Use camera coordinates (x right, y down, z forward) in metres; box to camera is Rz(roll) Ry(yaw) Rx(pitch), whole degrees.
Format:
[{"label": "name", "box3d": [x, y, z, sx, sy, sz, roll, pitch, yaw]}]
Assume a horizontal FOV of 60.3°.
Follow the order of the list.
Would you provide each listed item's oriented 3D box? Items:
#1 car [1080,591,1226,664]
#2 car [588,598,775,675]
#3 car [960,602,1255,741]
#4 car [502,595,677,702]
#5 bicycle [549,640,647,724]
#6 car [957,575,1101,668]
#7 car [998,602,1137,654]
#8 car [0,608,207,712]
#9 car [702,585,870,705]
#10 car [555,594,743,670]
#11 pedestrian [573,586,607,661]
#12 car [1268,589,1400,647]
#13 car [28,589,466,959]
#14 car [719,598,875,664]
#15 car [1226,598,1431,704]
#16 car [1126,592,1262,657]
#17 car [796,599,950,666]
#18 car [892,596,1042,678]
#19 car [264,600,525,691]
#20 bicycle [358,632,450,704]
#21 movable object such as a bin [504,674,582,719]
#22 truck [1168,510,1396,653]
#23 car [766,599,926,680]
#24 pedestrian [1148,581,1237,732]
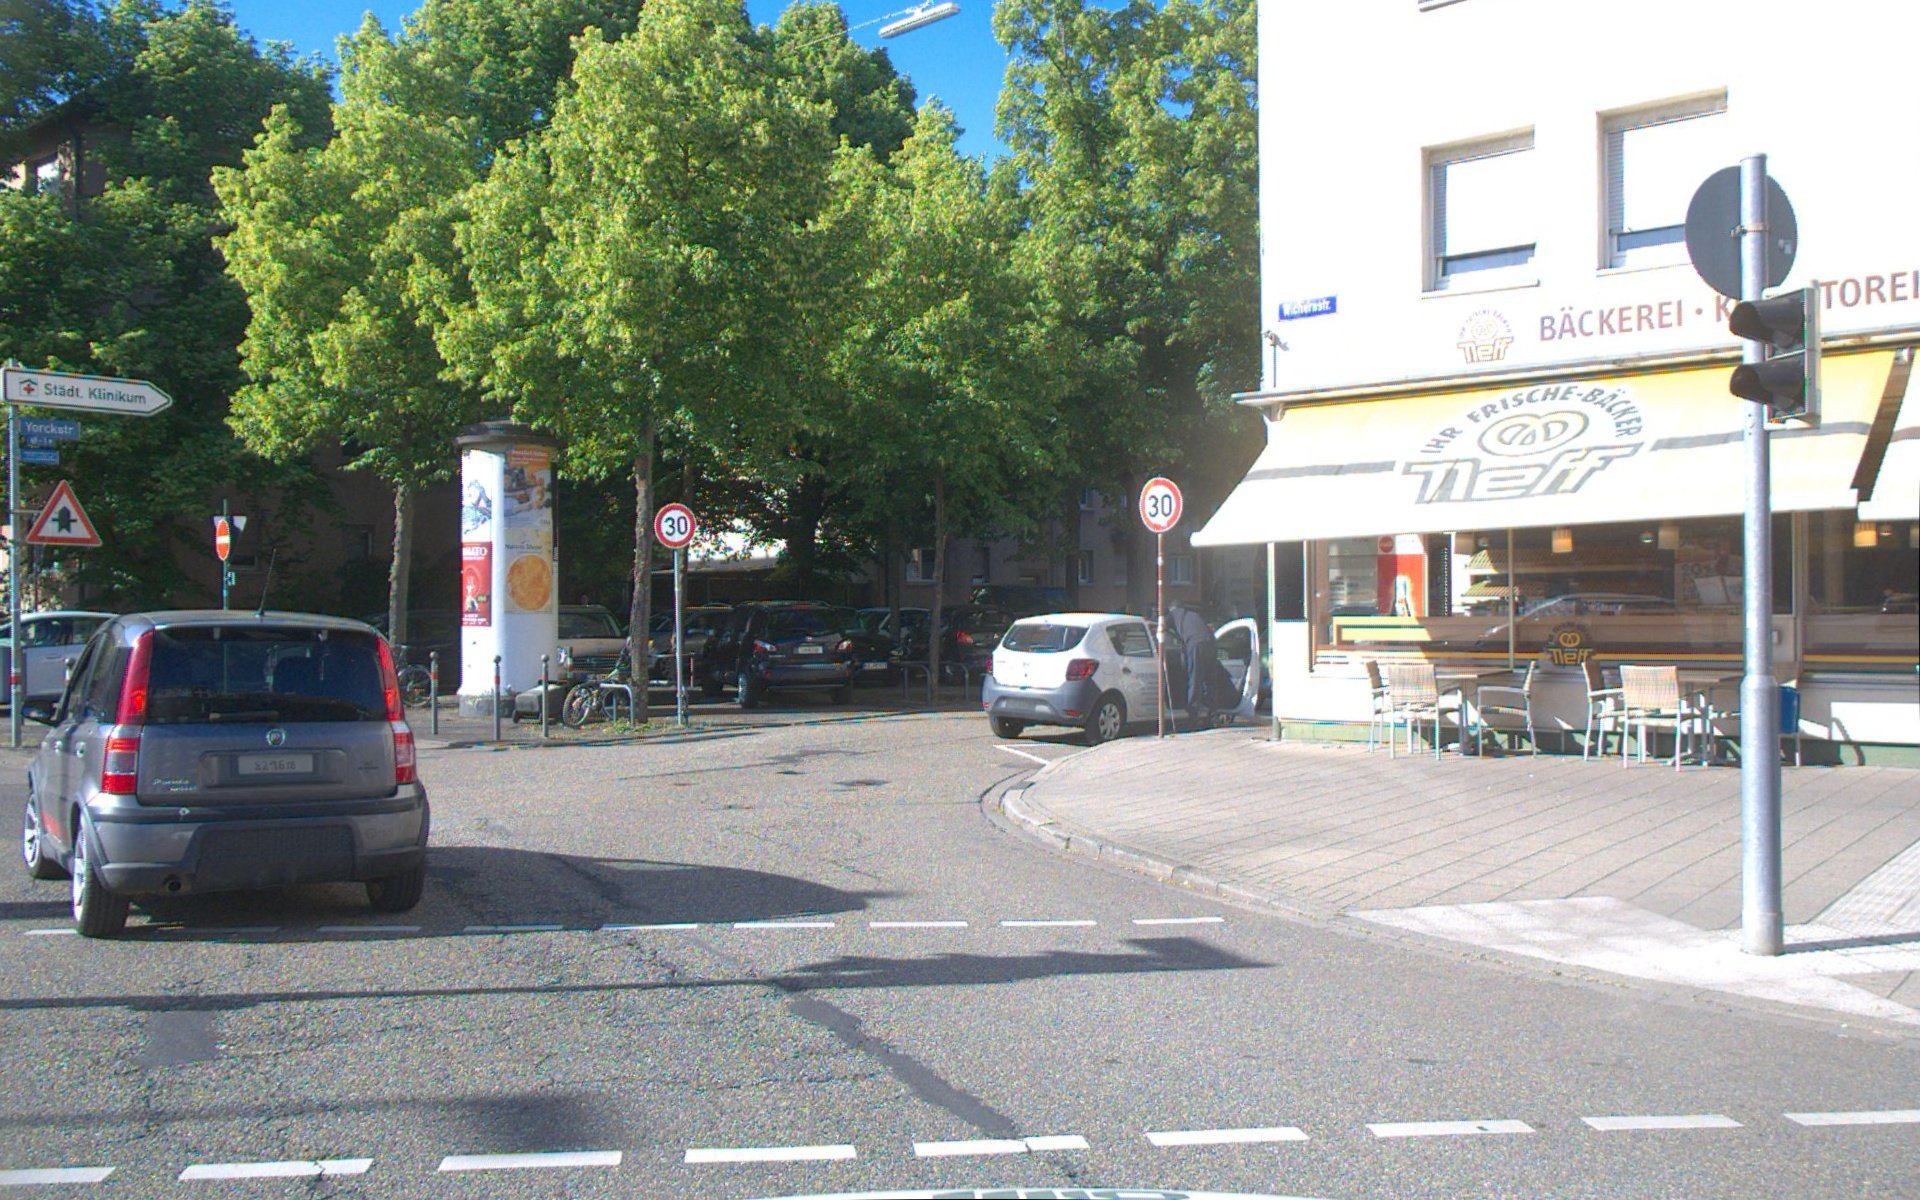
[{"label": "car", "box3d": [4.285, 0.580, 37.343, 1.778, 1.533, 4.325, 0, 0, -16]}, {"label": "car", "box3d": [-5.835, 0.726, 35.105, 1.723, 1.512, 3.938, 0, 0, 33]}, {"label": "car", "box3d": [1.940, 0.819, 20.784, 1.693, 1.523, 4.001, -1, 0, 41]}, {"label": "car", "box3d": [-6.330, 0.770, 27.946, 1.895, 1.639, 3.962, -1, 0, -28]}, {"label": "bicycle", "box3d": [-4.983, 1.113, 22.847, 0.346, 1.091, 1.590, -1, 0, 29]}, {"label": "car", "box3d": [1.438, 0.438, 36.415, 1.898, 1.906, 4.484, 0, 0, -16]}, {"label": "car", "box3d": [3.033, 0.751, 45.812, 1.734, 1.317, 4.396, -3, -2, 36]}, {"label": "car", "box3d": [-14.773, 0.926, 26.047, 4.998, 1.545, 1.893, 0, 0, -44]}, {"label": "car", "box3d": [-2.951, 0.662, 27.258, 1.804, 1.700, 4.312, 0, 2, -20]}, {"label": "car", "box3d": [-7.172, 0.696, 38.466, 1.726, 1.669, 4.227, 0, 0, 38]}, {"label": "pedestrian", "box3d": [-8.791, 0.545, 39.288, 0.728, 1.766, 0.537, -1, 0, -17]}, {"label": "car", "box3d": [10.238, 0.456, 45.573, 1.814, 1.529, 3.979, 0, 0, -18]}, {"label": "car", "box3d": [-3.976, 0.759, 8.956, 1.602, 1.589, 3.218, -1, 0, -34]}, {"label": "car", "box3d": [-4.167, 0.760, 42.652, 1.727, 1.597, 3.928, 0, 0, 40]}, {"label": "car", "box3d": [5.739, 0.729, 25.530, 1.572, 1.489, 3.652, 0, 0, 40]}, {"label": "car", "box3d": [5.726, 0.570, 41.029, 1.778, 1.533, 4.325, 0, 0, -16]}, {"label": "car", "box3d": [-2.032, 0.735, 39.762, 1.723, 1.512, 3.938, 0, 0, 33]}, {"label": "car", "box3d": [0.069, 0.689, 32.634, 1.730, 1.507, 3.800, 0, 0, -21]}, {"label": "car", "box3d": [-10.441, 0.795, 30.782, 1.874, 1.545, 4.277, -1, 0, 40]}, {"label": "bicycle", "box3d": [-8.942, 1.075, 26.637, 0.346, 1.091, 1.590, -1, 0, 29]}, {"label": "movable object such as a bin", "box3d": [-5.960, 1.376, 23.675, 0.564, 0.575, 1.114, -1, 0, 19]}, {"label": "truck", "box3d": [8.079, -0.424, 42.547, 2.500, 3.351, 7.287, -1, 0, -18]}, {"label": "car", "box3d": [-2.257, 0.712, 31.858, 1.793, 1.447, 3.917, 0, 0, -25]}, {"label": "pedestrian", "box3d": [2.773, 0.661, 19.757, 0.739, 1.752, 0.749, 0, 0, -44]}]
